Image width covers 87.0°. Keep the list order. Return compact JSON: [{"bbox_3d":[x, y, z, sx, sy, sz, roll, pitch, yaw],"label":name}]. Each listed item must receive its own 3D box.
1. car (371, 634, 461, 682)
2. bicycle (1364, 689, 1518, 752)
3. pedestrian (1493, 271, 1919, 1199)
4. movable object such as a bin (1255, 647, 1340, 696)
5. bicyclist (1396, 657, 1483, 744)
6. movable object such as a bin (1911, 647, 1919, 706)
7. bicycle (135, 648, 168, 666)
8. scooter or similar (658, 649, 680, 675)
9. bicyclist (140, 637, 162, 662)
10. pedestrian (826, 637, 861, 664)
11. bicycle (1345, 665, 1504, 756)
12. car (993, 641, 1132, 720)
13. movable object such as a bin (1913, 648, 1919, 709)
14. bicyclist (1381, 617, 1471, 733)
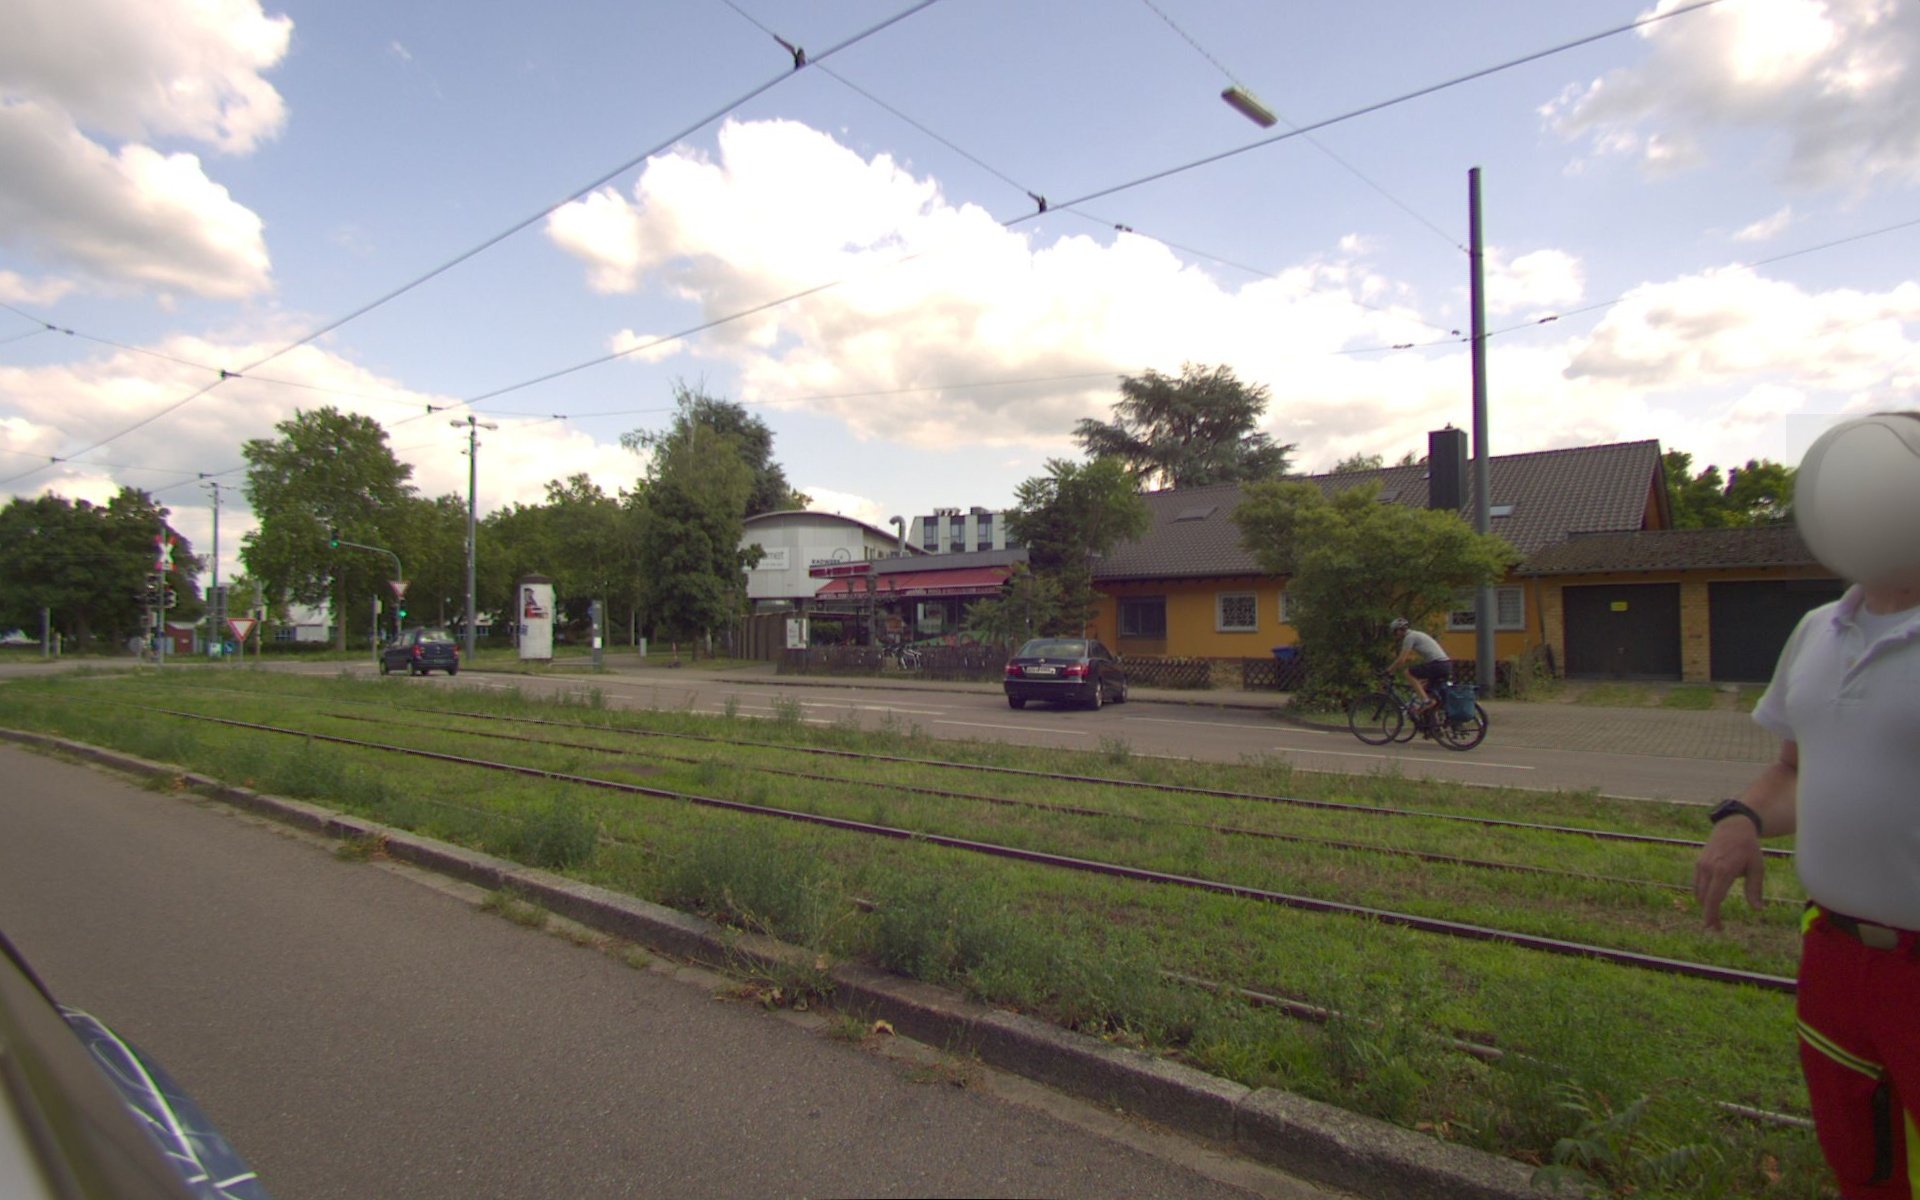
[{"bbox_3d":[-19.452,2.019,36.140,3.495,1.639,1.759,-2,-3,43],"label":"car"},{"bbox_3d":[6.584,1.632,13.921,1.804,0.723,0.639,-2,-3,41],"label":"bicycle"},{"bbox_3d":[1.411,0.493,1.383,0.837,1.699,0.808,0,-2,-15],"label":"pedestrian"},{"bbox_3d":[8.125,1.705,24.370,1.616,1.109,1.242,-2,-3,39],"label":"movable object such as a bin"},{"bbox_3d":[6.597,1.355,13.920,0.928,1.121,0.633,-2,-3,41],"label":"bicyclist"},{"bbox_3d":[17.639,1.389,18.372,0.479,1.050,0.488,-3,-2,40],"label":"movable object such as a bin"},{"bbox_3d":[-50.084,3.526,62.693,2.058,1.068,0.798,-3,-3,26],"label":"bicycle"},{"bbox_3d":[-12.190,2.590,42.420,0.421,1.041,1.225,1,-3,-40],"label":"scooter or similar"},{"bbox_3d":[-50.124,3.056,62.721,0.827,1.481,0.798,-3,-3,25],"label":"bicyclist"},{"bbox_3d":[-5.022,2.168,43.610,0.931,1.155,1.141,-3,-3,41],"label":"pedestrian"},{"bbox_3d":[6.122,1.421,13.402,1.803,1.088,0.639,-2,-3,41],"label":"bicycle"},{"bbox_3d":[2.286,1.592,21.250,1.869,1.418,4.620,0,-2,20],"label":"car"},{"bbox_3d":[17.284,1.393,17.946,0.481,1.050,0.499,-3,-2,40],"label":"movable object such as a bin"},{"bbox_3d":[6.159,0.968,13.385,0.928,1.469,0.616,-2,-3,40],"label":"bicyclist"}]
